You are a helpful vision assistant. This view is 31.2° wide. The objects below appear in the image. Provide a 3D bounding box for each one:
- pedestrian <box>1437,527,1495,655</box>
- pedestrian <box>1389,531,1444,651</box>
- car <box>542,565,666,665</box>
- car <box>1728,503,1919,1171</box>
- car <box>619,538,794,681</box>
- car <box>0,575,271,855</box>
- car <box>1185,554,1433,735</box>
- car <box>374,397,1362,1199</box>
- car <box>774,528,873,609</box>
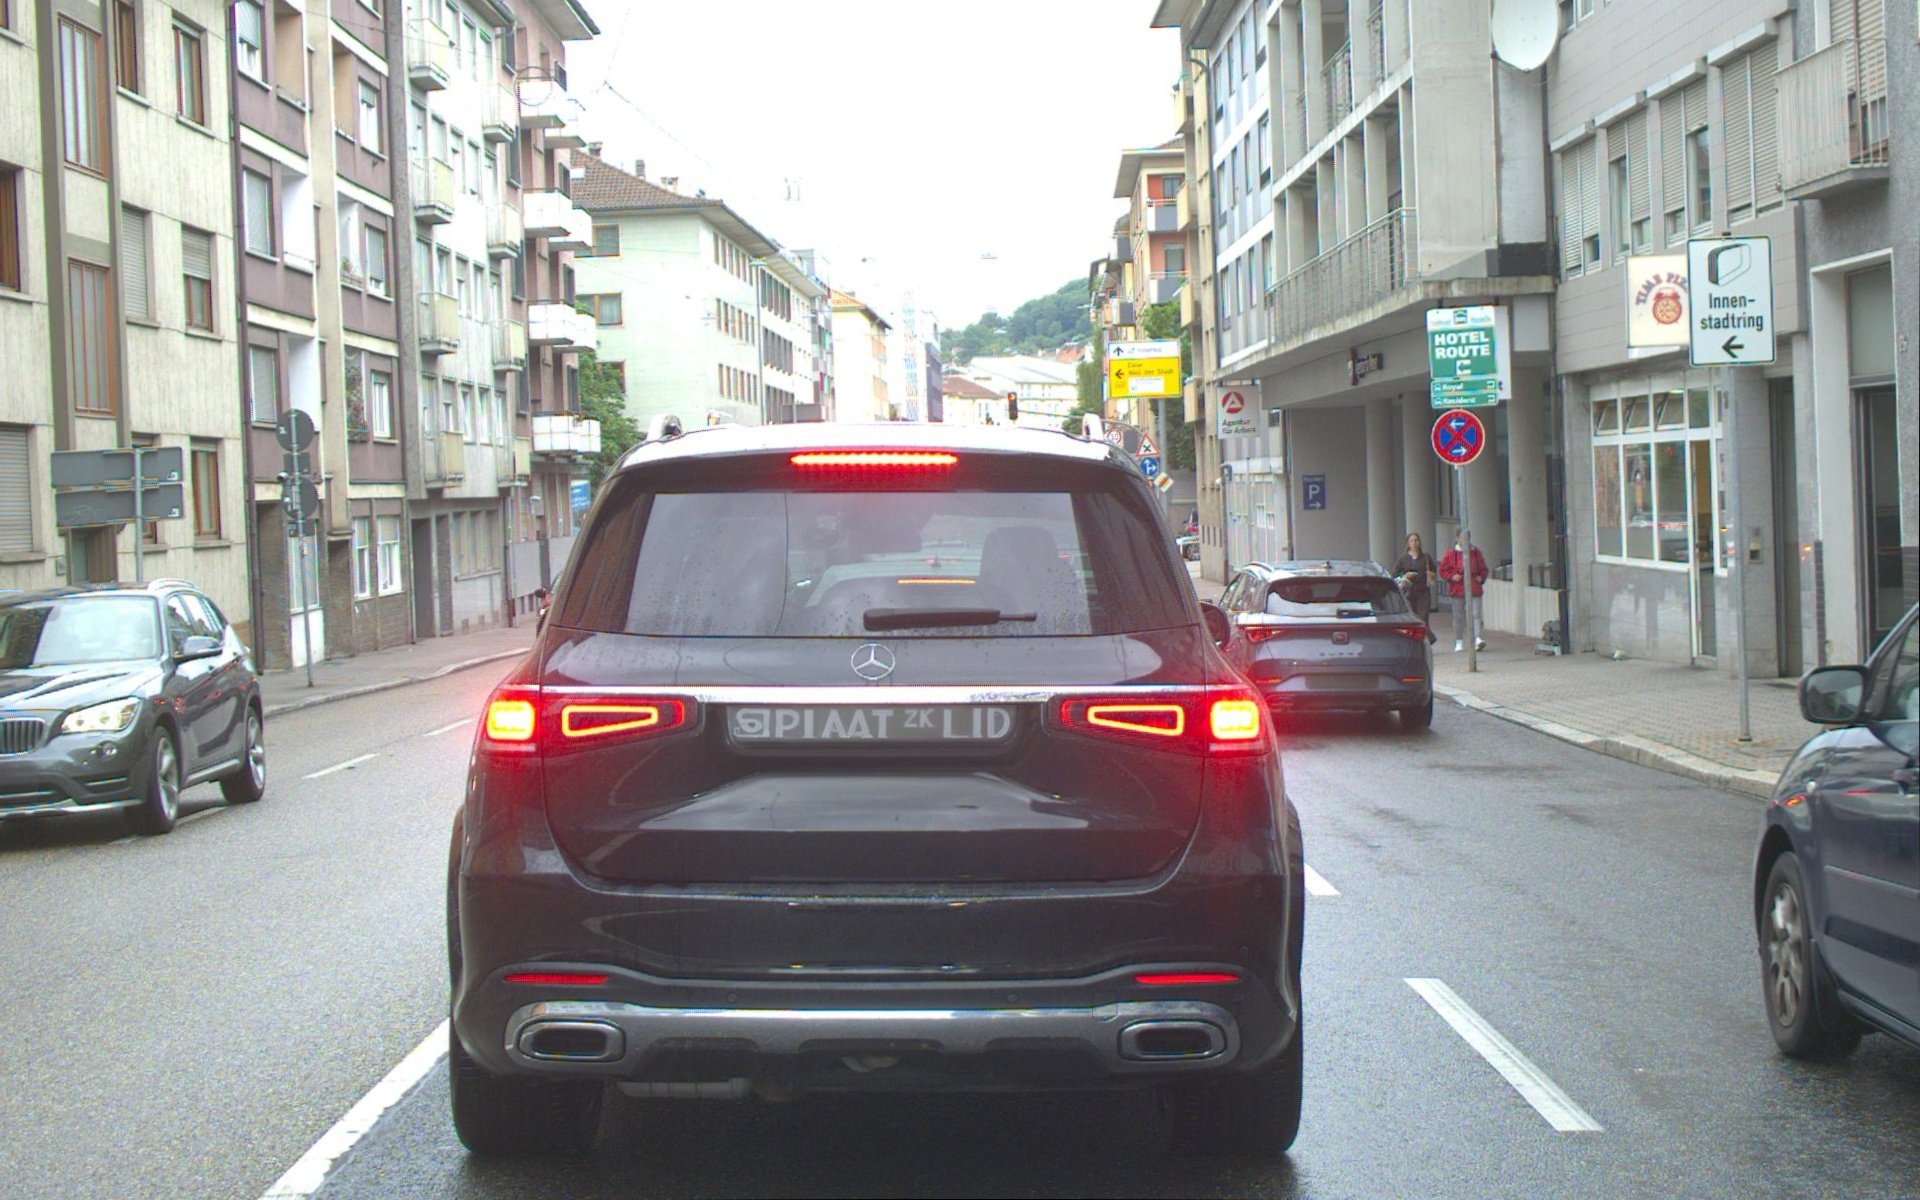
[{"bbox_3d":[6.434,-0.119,43.733,0.560,1.573,0.526,-4,1,2],"label":"pedestrian"},{"bbox_3d":[5.823,-0.116,43.851,0.506,1.495,0.562,-4,1,-1],"label":"pedestrian"},{"bbox_3d":[-6.286,0.238,61.077,1.797,1.579,4.316,-4,1,-2],"label":"car"},{"bbox_3d":[3.211,0.566,8.404,1.808,1.600,4.212,0,1,1],"label":"car"},{"bbox_3d":[-3.390,0.087,46.732,1.836,1.721,4.474,-4,1,1],"label":"car"},{"bbox_3d":[-5.612,0.670,21.610,1.703,1.502,4.160,-4,1,-1],"label":"car"},{"bbox_3d":[2.962,0.332,29.948,1.621,1.425,4.312,1,1,-1],"label":"car"},{"bbox_3d":[-0.230,0.459,9.132,2.025,1.799,4.000,1,1,-1],"label":"car"},{"bbox_3d":[-3.179,-0.764,81.034,2.126,1.715,4.818,-3,1,-1],"label":"car"}]
